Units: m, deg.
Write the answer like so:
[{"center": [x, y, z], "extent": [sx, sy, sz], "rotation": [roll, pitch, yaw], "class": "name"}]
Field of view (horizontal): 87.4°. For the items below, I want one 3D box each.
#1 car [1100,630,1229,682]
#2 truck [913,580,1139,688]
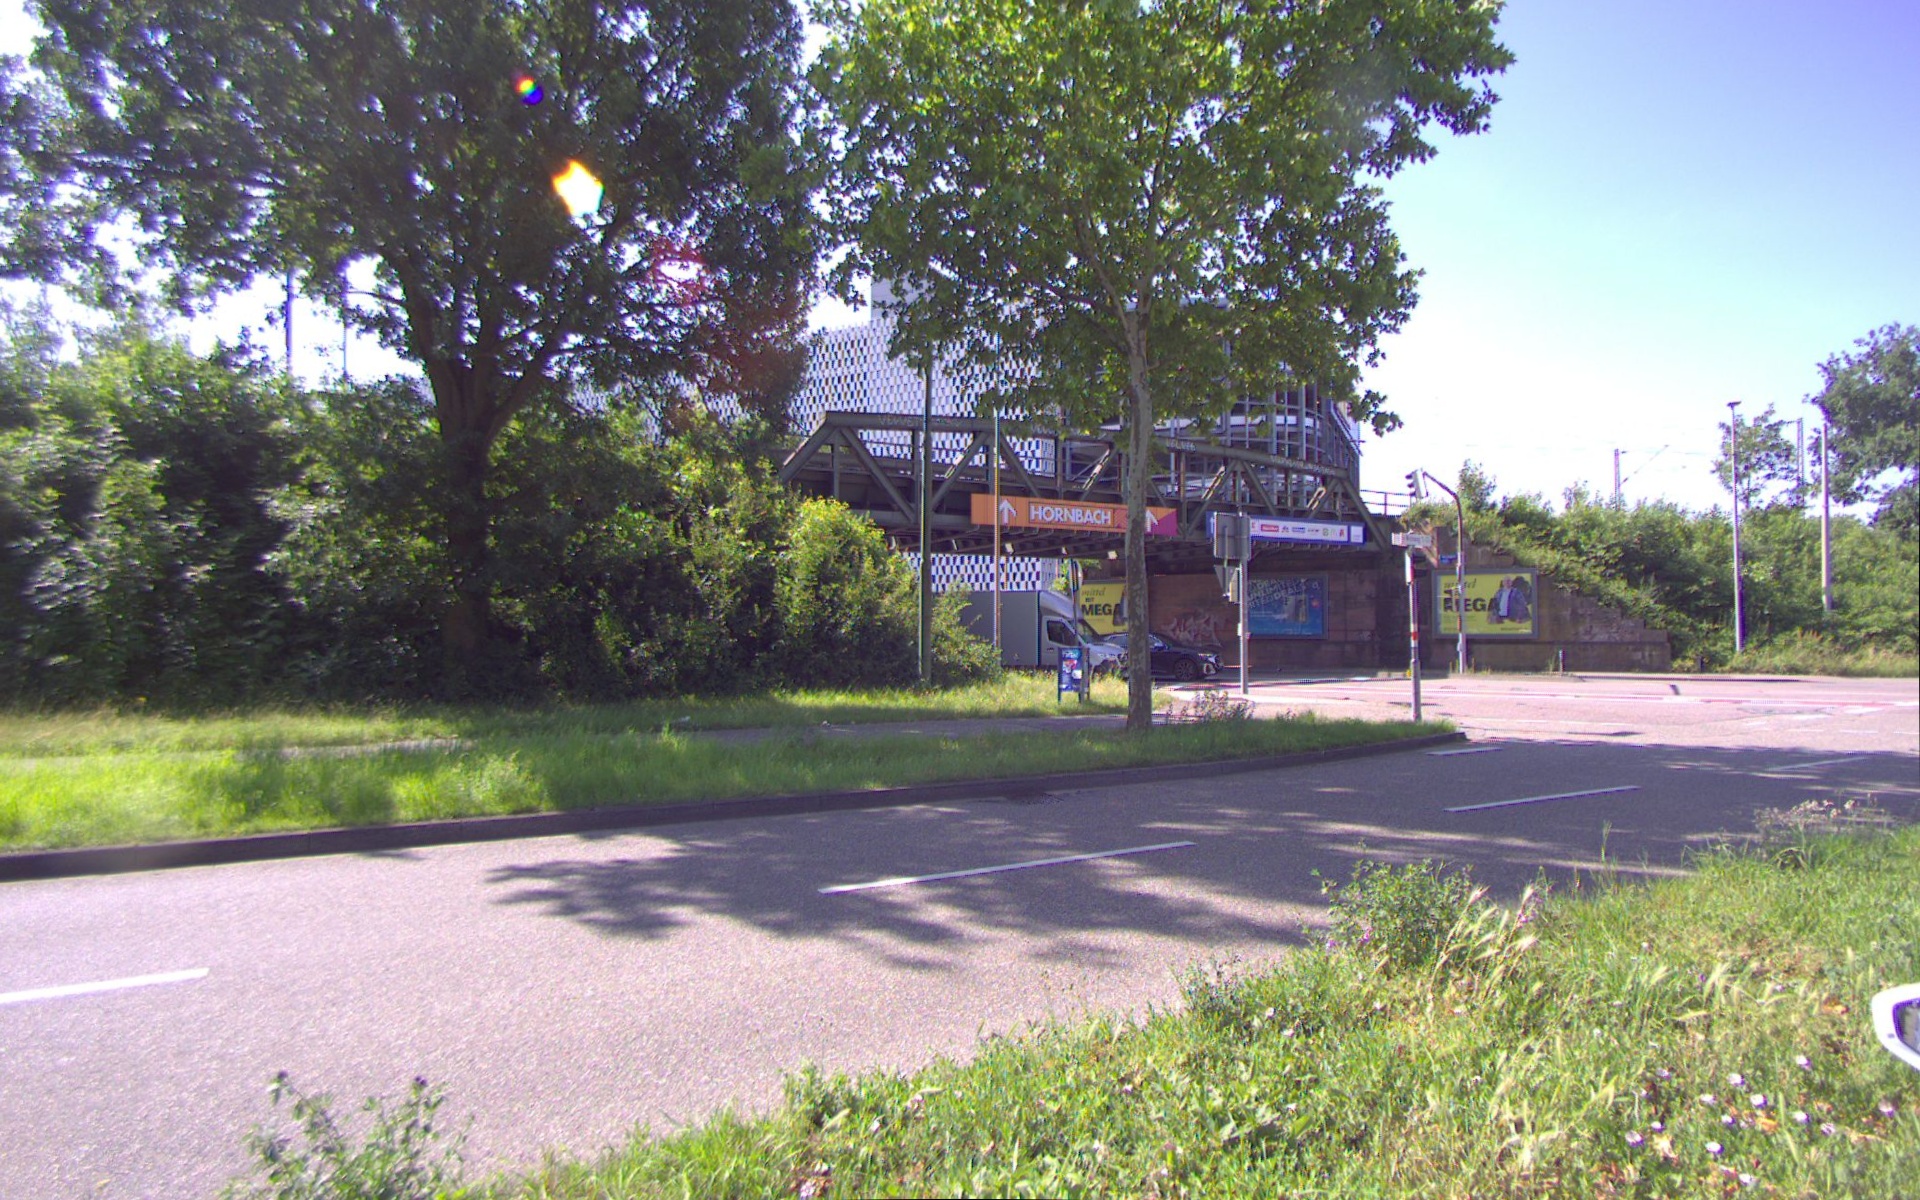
[{"center": [6.952, 1.887, 34.215], "extent": [3.926, 1.668, 1.902], "rotation": [-2, -2, 27], "class": "car"}, {"center": [2.023, 1.113, 31.719], "extent": [6.739, 3.146, 2.216], "rotation": [-2, -2, 27], "class": "truck"}]
